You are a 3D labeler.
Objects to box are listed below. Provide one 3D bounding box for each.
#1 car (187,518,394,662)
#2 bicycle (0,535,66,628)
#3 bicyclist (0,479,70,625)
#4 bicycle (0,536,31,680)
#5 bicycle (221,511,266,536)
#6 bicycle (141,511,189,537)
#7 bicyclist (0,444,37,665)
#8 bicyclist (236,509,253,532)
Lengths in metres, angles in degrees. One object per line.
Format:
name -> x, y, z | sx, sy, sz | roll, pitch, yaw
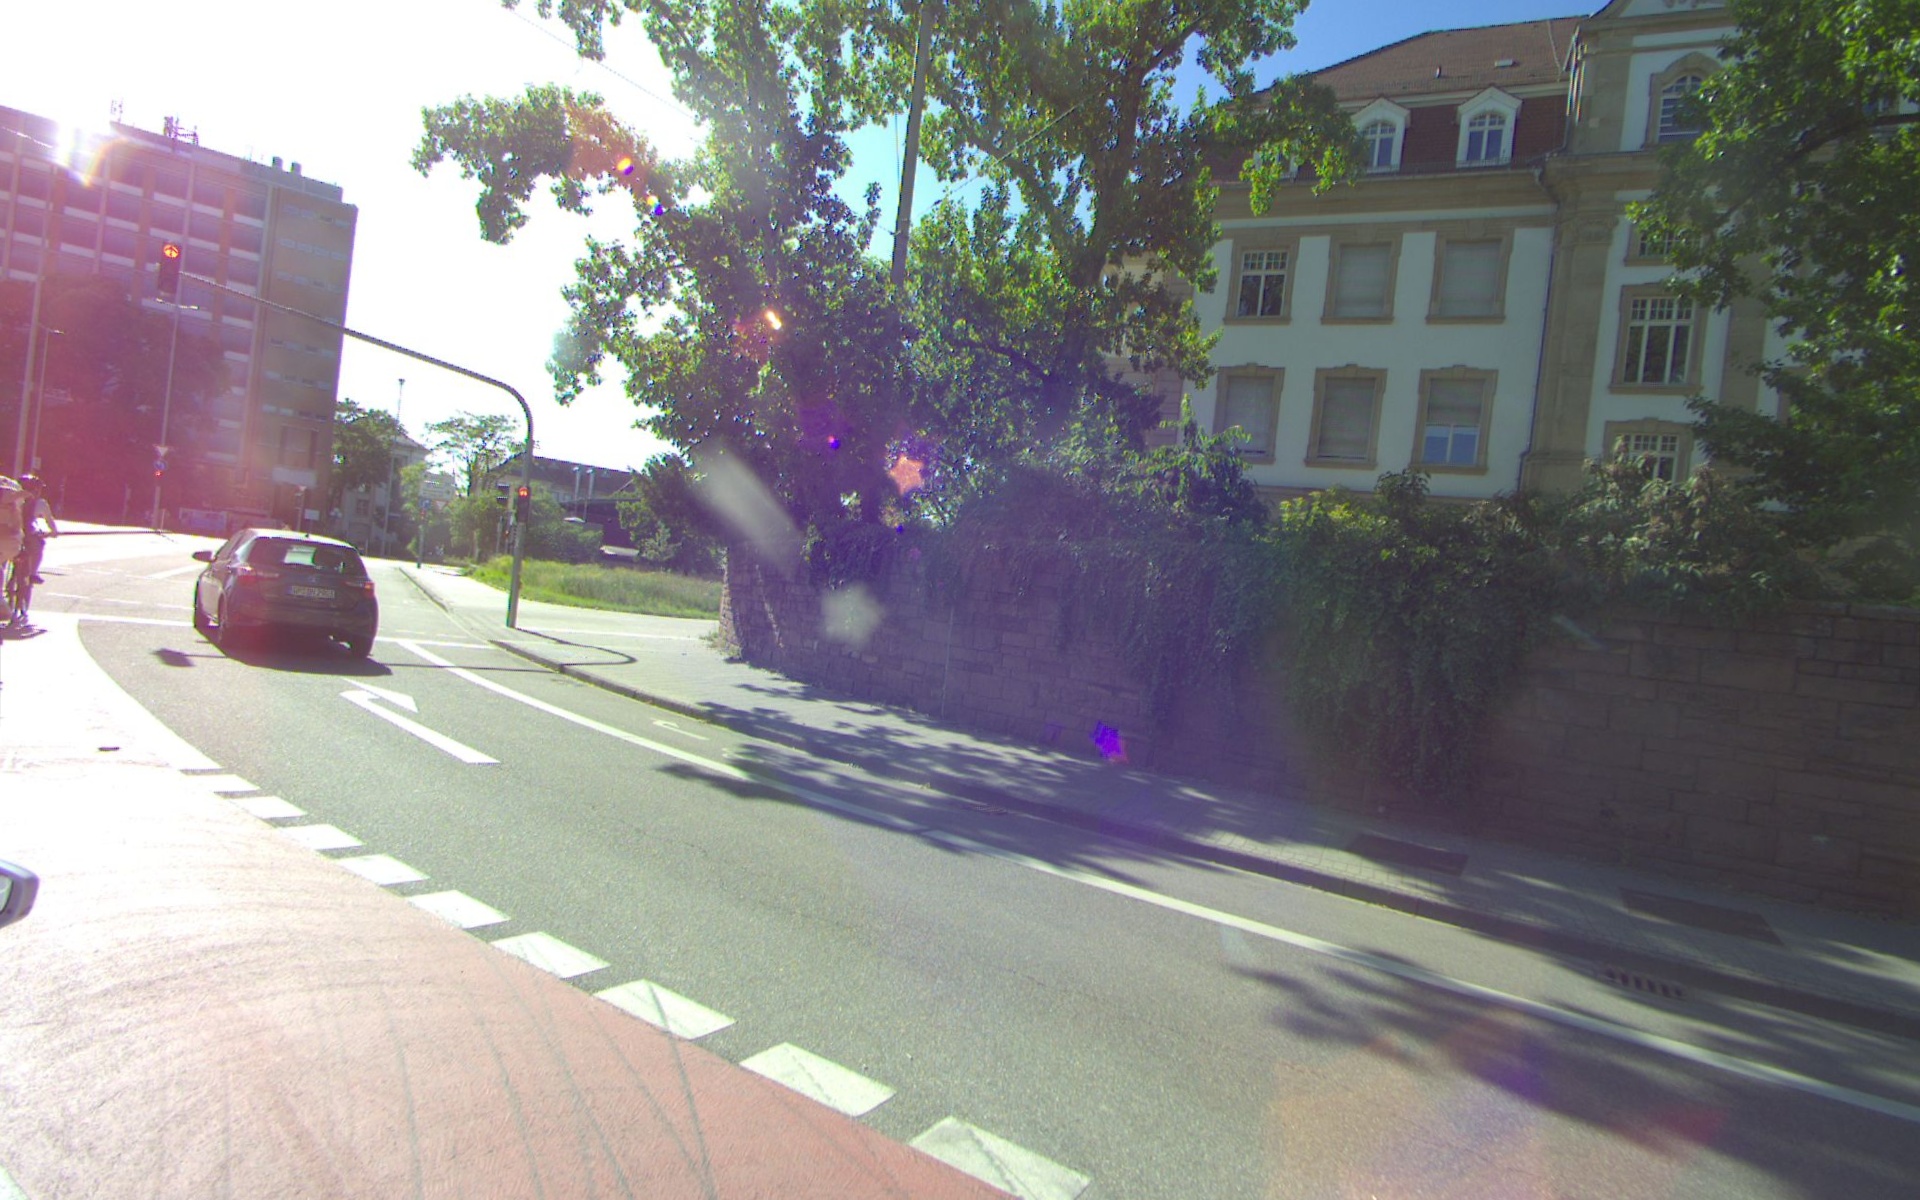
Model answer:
car -> -9.221, -0.194, 13.742 | 1.750, 1.560, 3.616 | 8, -1, -42
bicycle -> -11.571, -0.256, 12.331 | 0.719, 0.971, 1.863 | 8, -1, -39
bicyclist -> -11.425, -0.598, 12.210 | 0.718, 1.645, 1.043 | 8, -1, -39
bicycle -> -8.274, -0.003, 8.333 | 1.865, 1.060, 0.661 | 6, -1, 44
bicycle -> -59.049, -6.281, 82.971 | 2.779, 1.558, 0.878 | 8, -2, -29
bicycle -> -63.849, -6.092, 80.821 | 2.779, 1.558, 0.878 | 8, -2, -29
bicyclist -> -8.208, -0.420, 8.306 | 0.992, 1.768, 0.662 | 7, 0, 44
bicyclist -> -59.006, -6.564, 82.964 | 0.851, 1.711, 0.878 | 7, -2, -28
